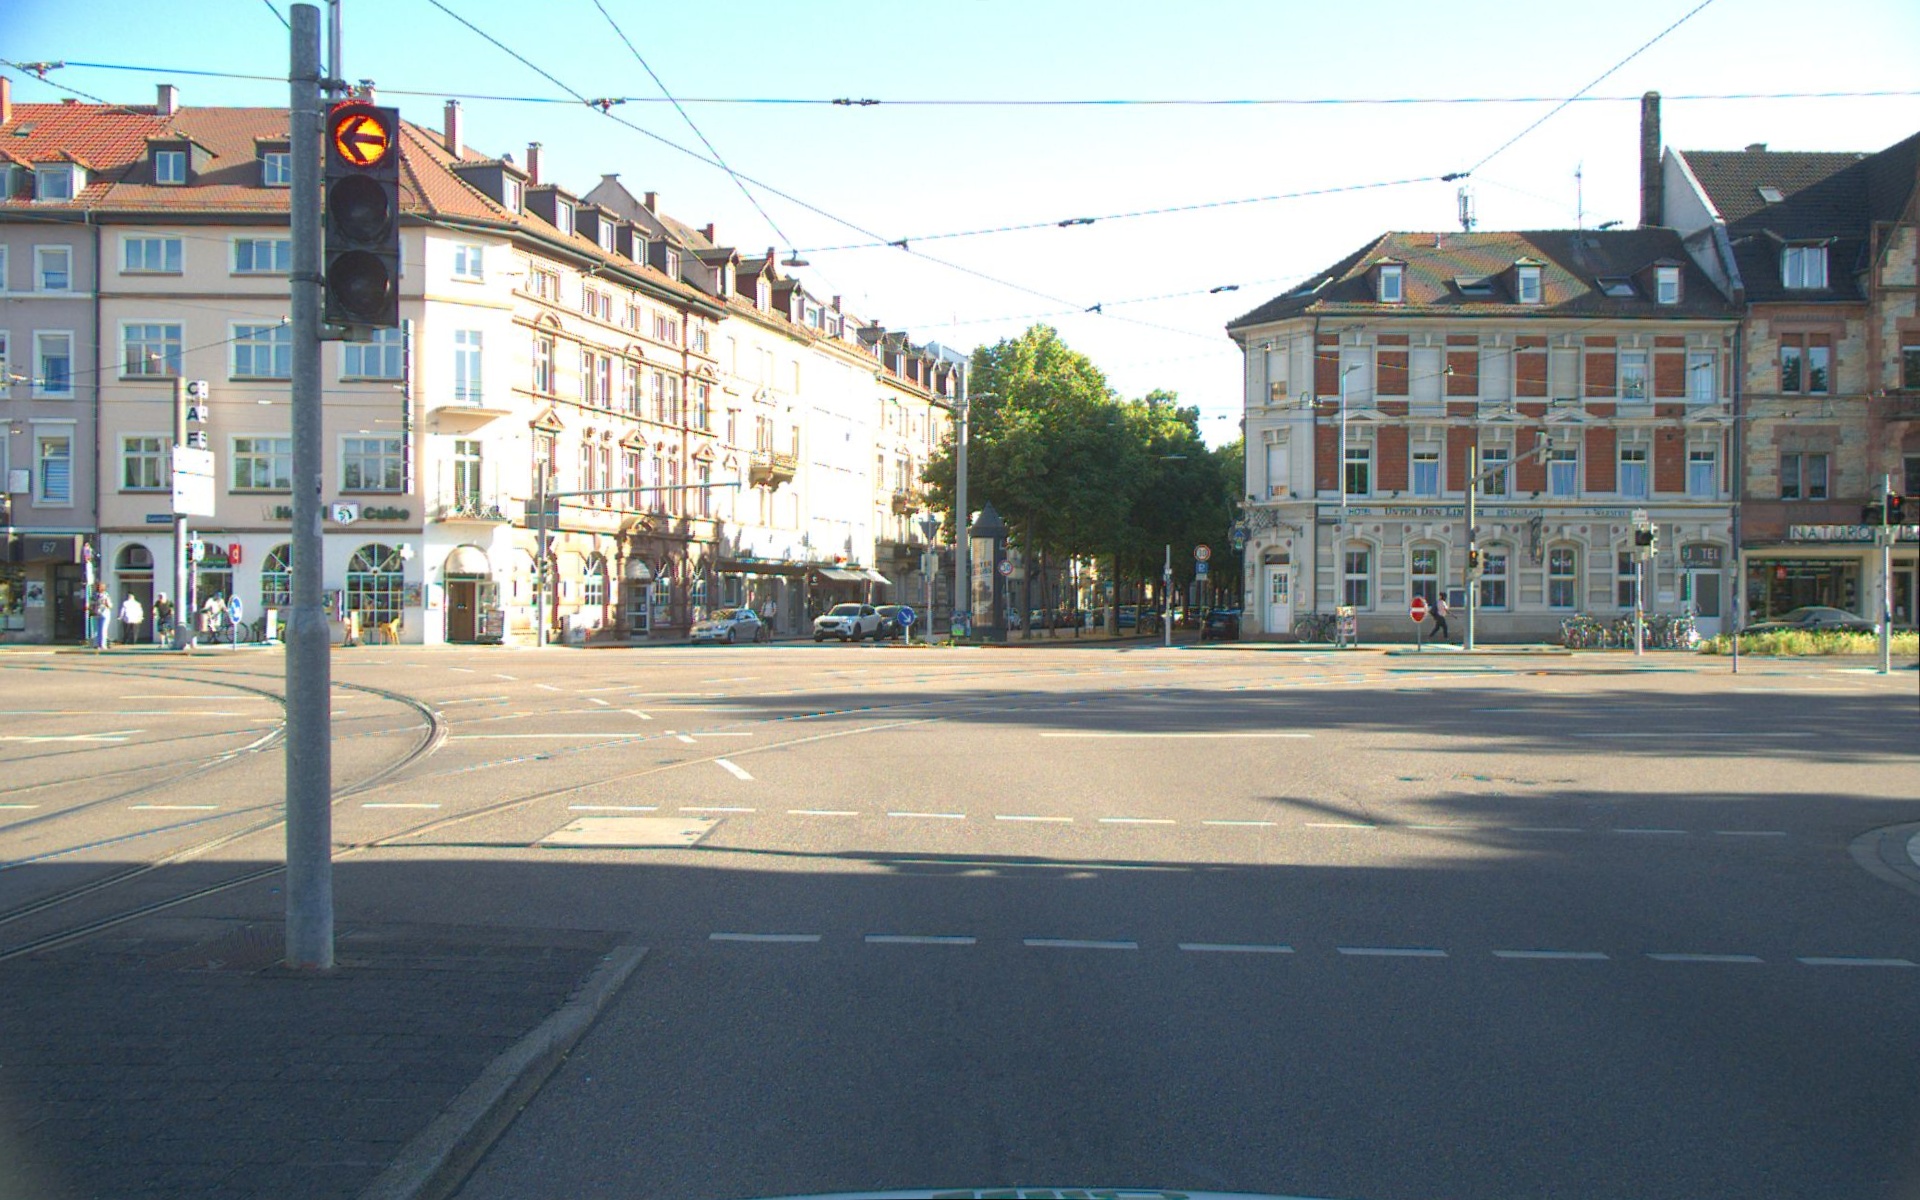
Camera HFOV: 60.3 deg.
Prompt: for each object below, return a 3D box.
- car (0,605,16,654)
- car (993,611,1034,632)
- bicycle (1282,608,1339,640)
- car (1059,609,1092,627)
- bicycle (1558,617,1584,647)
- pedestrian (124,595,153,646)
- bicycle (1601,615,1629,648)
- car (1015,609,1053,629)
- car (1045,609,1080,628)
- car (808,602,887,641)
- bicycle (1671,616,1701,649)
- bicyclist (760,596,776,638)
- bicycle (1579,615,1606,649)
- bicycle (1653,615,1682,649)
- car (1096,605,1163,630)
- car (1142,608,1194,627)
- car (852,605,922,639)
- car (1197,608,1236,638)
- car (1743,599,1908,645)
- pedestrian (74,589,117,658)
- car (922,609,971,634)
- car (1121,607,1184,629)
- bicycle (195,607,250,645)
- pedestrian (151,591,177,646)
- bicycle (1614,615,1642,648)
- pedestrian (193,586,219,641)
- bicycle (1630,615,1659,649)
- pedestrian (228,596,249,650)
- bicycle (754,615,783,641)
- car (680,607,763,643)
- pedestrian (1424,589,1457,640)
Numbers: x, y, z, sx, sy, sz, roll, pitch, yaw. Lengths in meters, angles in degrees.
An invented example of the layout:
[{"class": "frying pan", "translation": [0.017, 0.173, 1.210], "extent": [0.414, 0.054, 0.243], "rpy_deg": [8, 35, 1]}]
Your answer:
[{"class": "car", "translation": [-32.132, 0.901, 52.135], "extent": [3.651, 1.517, 1.818], "rpy_deg": [1, 0, 2]}, {"class": "car", "translation": [3.817, 1.485, 116.895], "extent": [1.951, 1.429, 4.172], "rpy_deg": [0, 0, 15]}, {"class": "bicycle", "translation": [12.178, 0.829, 57.514], "extent": [1.911, 1.072, 0.716], "rpy_deg": [0, 0, 9]}, {"class": "car", "translation": [9.572, 1.482, 136.726], "extent": [1.951, 1.429, 4.172], "rpy_deg": [0, 0, 15]}, {"class": "bicycle", "translation": [19.805, 1.016, 53.653], "extent": [0.476, 0.930, 1.785], "rpy_deg": [0, 0, 9]}, {"class": "pedestrian", "translation": [-27.798, 0.674, 55.978], "extent": [0.727, 1.711, 0.626], "rpy_deg": [0, 0, -12]}, {"class": "bicycle", "translation": [21.164, 1.002, 53.485], "extent": [0.476, 1.038, 1.785], "rpy_deg": [0, 0, 9]}, {"class": "car", "translation": [5.476, 1.379, 122.641], "extent": [1.951, 1.429, 4.172], "rpy_deg": [0, 0, 15]}, {"class": "car", "translation": [8.143, 1.435, 131.508], "extent": [1.951, 1.429, 4.172], "rpy_deg": [0, 0, 15]}, {"class": "car", "translation": [-4.529, 0.848, 67.387], "extent": [1.951, 1.542, 4.172], "rpy_deg": [0, 0, 15]}, {"class": "bicycle", "translation": [23.591, 1.045, 53.743], "extent": [0.476, 1.038, 1.785], "rpy_deg": [0, 0, 9]}, {"class": "bicyclist", "translation": [-7.546, 0.654, 65.068], "extent": [0.479, 1.629, 0.667], "rpy_deg": [0, 0, 9]}, {"class": "bicycle", "translation": [20.475, 1.023, 53.576], "extent": [0.476, 1.038, 1.785], "rpy_deg": [0, 0, 9]}, {"class": "bicycle", "translation": [22.907, 1.033, 53.561], "extent": [0.476, 1.038, 1.785], "rpy_deg": [0, 0, 9]}, {"class": "car", "translation": [10.251, 1.039, 99.824], "extent": [3.902, 1.480, 1.683], "rpy_deg": [0, 0, 10]}, {"class": "car", "translation": [14.046, 1.152, 111.662], "extent": [3.360, 1.261, 1.578], "rpy_deg": [0, 0, 10]}, {"class": "car", "translation": [-3.225, 0.953, 73.579], "extent": [1.951, 1.429, 4.172], "rpy_deg": [0, 0, 15]}, {"class": "car", "translation": [12.855, 1.143, 82.706], "extent": [1.717, 1.445, 4.003], "rpy_deg": [0, 0, 12]}, {"class": "car", "translation": [25.350, 0.645, 48.531], "extent": [3.977, 1.323, 1.722], "rpy_deg": [0, 0, -1]}, {"class": "pedestrian", "translation": [-21.552, 0.571, 41.244], "extent": [0.725, 1.711, 0.628], "rpy_deg": [0, 0, -1]}, {"class": "car", "translation": [-0.817, 1.318, 102.057], "extent": [1.951, 1.429, 4.172], "rpy_deg": [0, 0, 15]}, {"class": "car", "translation": [12.318, 1.142, 105.563], "extent": [3.902, 1.311, 1.696], "rpy_deg": [0, 0, 10]}, {"class": "bicycle", "translation": [-25.194, 0.890, 56.511], "extent": [1.684, 1.299, 0.385], "rpy_deg": [0, 0, -18]}, {"class": "pedestrian", "translation": [-24.951, 0.584, 51.835], "extent": [0.731, 1.711, 0.623], "rpy_deg": [0, 0, -26]}, {"class": "bicycle", "translation": [21.613, 1.010, 53.553], "extent": [0.476, 1.038, 1.785], "rpy_deg": [0, 0, 9]}, {"class": "pedestrian", "translation": [-23.648, 0.429, 51.860], "extent": [0.731, 1.711, 0.623], "rpy_deg": [0, 0, -26]}, {"class": "bicycle", "translation": [22.112, 1.019, 53.481], "extent": [0.476, 1.038, 1.785], "rpy_deg": [0, 0, 9]}, {"class": "pedestrian", "translation": [-17.200, 0.544, 39.425], "extent": [0.358, 1.275, 0.449], "rpy_deg": [0, 0, -12]}, {"class": "bicycle", "translation": [-7.555, 1.099, 65.167], "extent": [0.641, 1.018, 1.666], "rpy_deg": [1, 0, 11]}, {"class": "car", "translation": [-9.598, 0.985, 66.881], "extent": [1.951, 1.385, 3.821], "rpy_deg": [0, 0, 15]}, {"class": "pedestrian", "translation": [16.538, 0.499, 56.937], "extent": [1.013, 1.741, 0.630], "rpy_deg": [1, -1, 8]}]
